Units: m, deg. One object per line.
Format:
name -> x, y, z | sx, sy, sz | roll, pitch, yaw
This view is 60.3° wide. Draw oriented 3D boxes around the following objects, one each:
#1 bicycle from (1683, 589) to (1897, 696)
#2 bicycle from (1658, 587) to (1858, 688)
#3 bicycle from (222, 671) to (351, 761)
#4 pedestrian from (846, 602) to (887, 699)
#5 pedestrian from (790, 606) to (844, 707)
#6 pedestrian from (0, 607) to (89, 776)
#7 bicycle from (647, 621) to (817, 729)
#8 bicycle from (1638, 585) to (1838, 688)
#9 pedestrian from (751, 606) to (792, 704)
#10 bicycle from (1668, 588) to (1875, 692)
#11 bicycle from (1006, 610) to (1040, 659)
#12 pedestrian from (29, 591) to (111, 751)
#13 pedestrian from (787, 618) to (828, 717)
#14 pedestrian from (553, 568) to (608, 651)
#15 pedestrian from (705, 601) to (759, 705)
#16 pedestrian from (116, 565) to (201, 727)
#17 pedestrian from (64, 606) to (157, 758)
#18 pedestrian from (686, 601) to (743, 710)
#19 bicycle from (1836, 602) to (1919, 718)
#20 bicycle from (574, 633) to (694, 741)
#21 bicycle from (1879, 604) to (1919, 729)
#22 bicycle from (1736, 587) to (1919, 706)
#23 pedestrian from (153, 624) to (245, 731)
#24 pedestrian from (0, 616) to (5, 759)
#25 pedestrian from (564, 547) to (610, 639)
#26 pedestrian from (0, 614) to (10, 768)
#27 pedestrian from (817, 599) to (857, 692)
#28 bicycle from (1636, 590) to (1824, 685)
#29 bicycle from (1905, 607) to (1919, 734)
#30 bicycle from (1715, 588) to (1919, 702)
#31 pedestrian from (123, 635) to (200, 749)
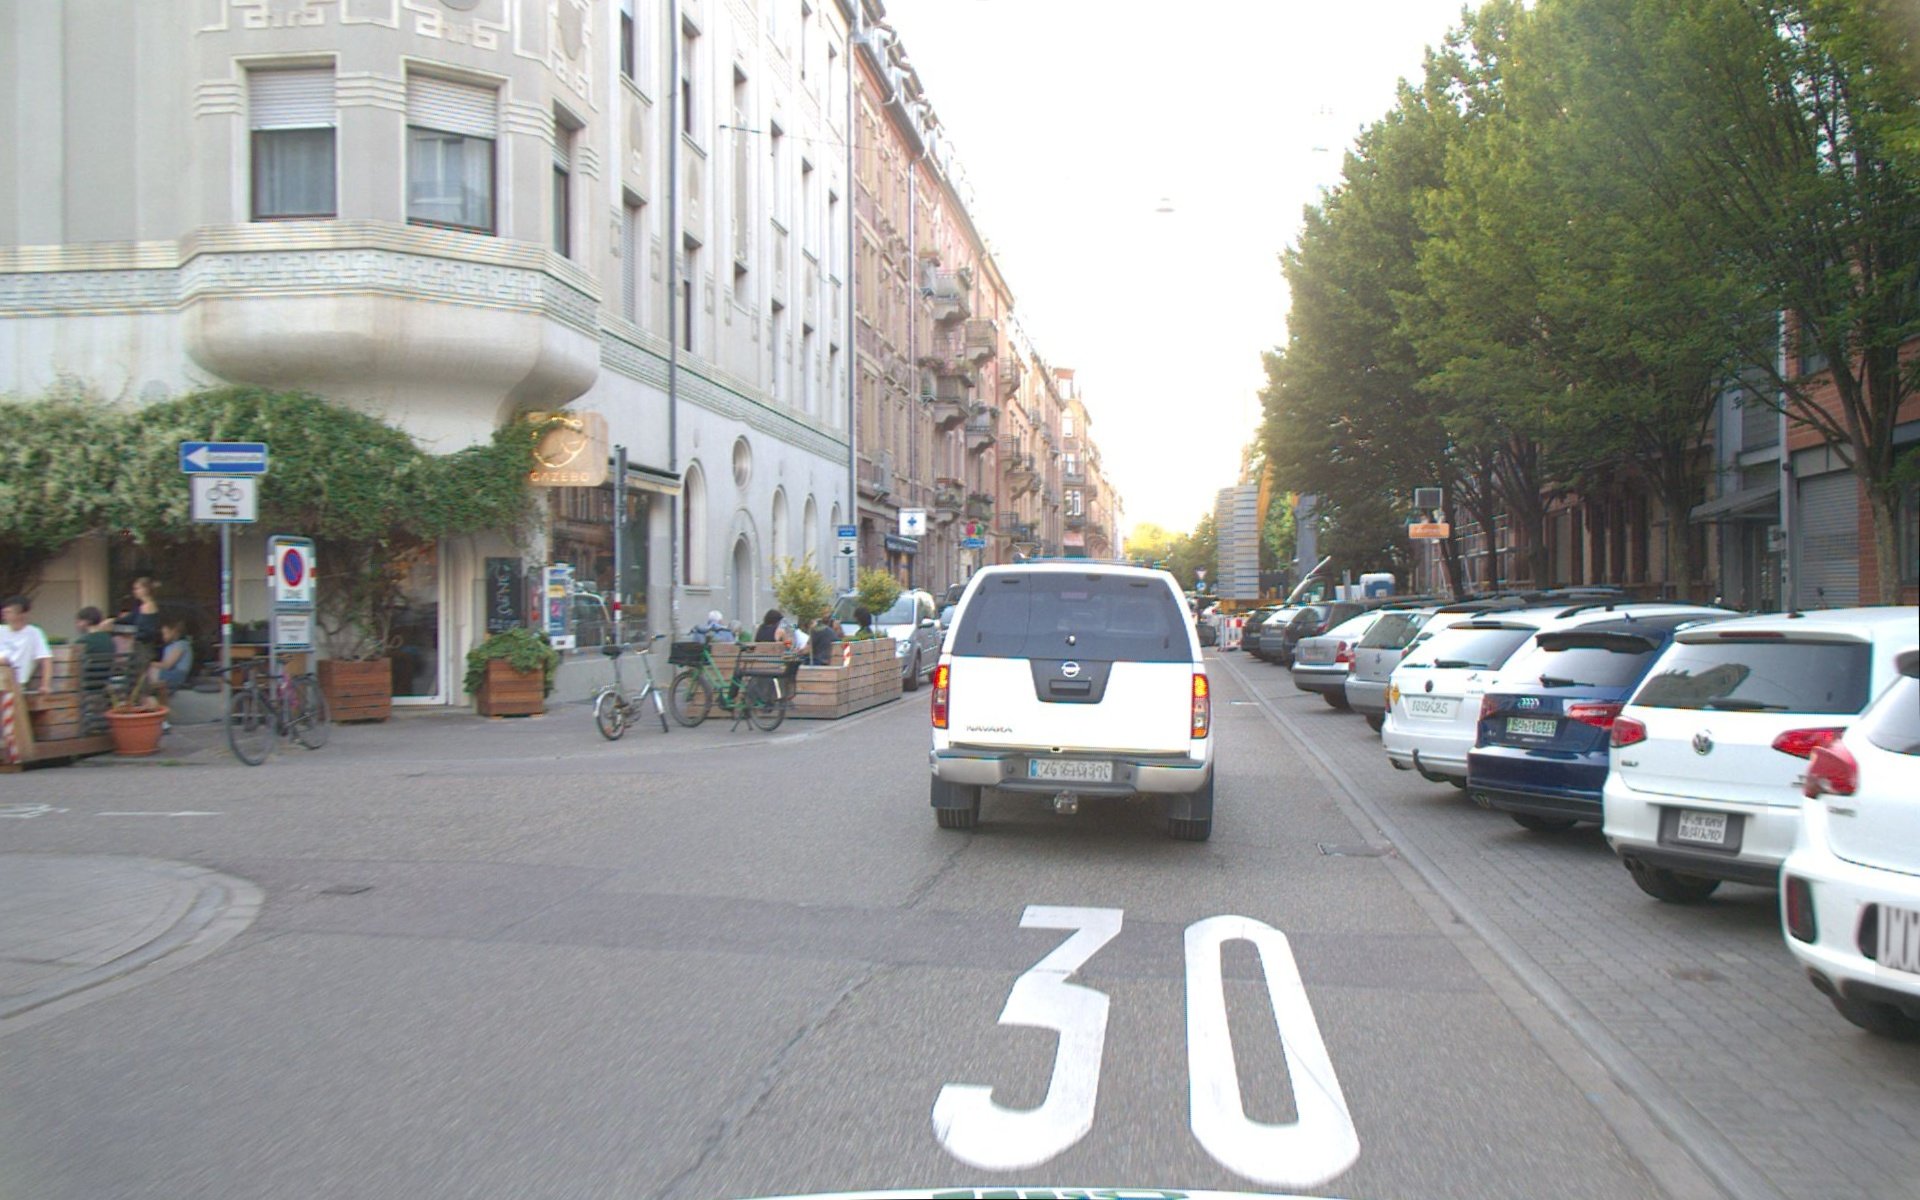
bicycle -> 11.070, 0.566, 22.136 | 2.480, 1.403, 0.600 | -1, 0, 10
bicycle -> 11.299, 0.532, 23.491 | 2.480, 1.403, 0.600 | -1, 0, 10
bicycle -> -6.638, 1.122, 16.384 | 0.414, 0.708, 1.781 | 0, 2, 5
pedestrian -> -1.348, 0.718, 23.897 | 0.473, 1.374, 0.669 | 0, 0, 6
pedestrian -> -1.943, 0.753, 22.554 | 0.596, 1.348, 0.771 | 0, 0, 6
pedestrian -> -8.885, 0.856, 15.783 | 0.687, 1.567, 0.784 | -1, 0, 6
bicycle -> -2.583, 0.824, 18.602 | 2.072, 1.114, 0.500 | 1, 1, 32
bicycle -> 11.389, 0.537, 24.280 | 2.481, 1.266, 0.600 | -6, -1, 10
pedestrian -> -2.684, 0.780, 23.609 | 0.458, 1.374, 0.611 | 0, 0, 6
bicycle -> 11.159, 0.550, 22.816 | 2.480, 1.403, 0.600 | -1, 0, 10
bicycle -> 1.438, 0.756, 37.264 | 0.601, 1.058, 1.905 | 0, 0, 7
pedestrian -> -9.343, 0.736, 17.368 | 0.529, 1.649, 0.546 | -1, 0, 7
pedestrian -> -2.162, 0.948, 23.477 | 0.458, 1.374, 0.611 | 0, 0, 6
pedestrian -> -5.451, 0.139, 23.755 | 0.545, 1.174, 0.748 | 0, 0, 6
pedestrian -> -3.004, 0.686, 21.825 | 0.526, 1.348, 0.705 | 0, 0, 8
pedestrian -> -8.577, 0.481, 17.706 | 0.601, 1.704, 0.569 | 0, 0, 8
pedestrian -> -8.566, 0.815, 16.695 | 0.559, 1.495, 0.645 | -1, 0, 5
pedestrian -> -3.100, 0.692, 20.943 | 0.526, 1.348, 0.705 | 0, 0, 8
bicycle -> 10.455, 0.607, 17.020 | 2.480, 1.187, 0.562 | -1, 0, 10
bicycle -> -3.476, 0.905, 17.769 | 0.414, 1.030, 1.719 | 0, 1, 21
bicycle -> 10.248, 0.624, 15.839 | 2.480, 1.187, 0.562 | -1, 0, 10
bicycle -> 10.803, 0.557, 20.008 | 2.480, 1.403, 0.600 | -1, 0, 10
pedestrian -> -9.044, 0.913, 19.674 | 0.676, 1.235, 0.779 | -1, 0, 8
pedestrian -> -10.187, 0.901, 16.789 | 0.559, 1.468, 0.645 | -1, 0, 8
pedestrian -> -5.632, -0.110, 24.998 | 0.527, 1.374, 0.519 | 0, 0, 8
pedestrian -> -9.652, 0.885, 15.768 | 0.687, 1.495, 0.784 | -1, 0, 6
pedestrian -> -1.847, 0.674, 24.860 | 0.506, 1.374, 0.540 | 0, 0, 4
bicycle -> 11.553, 0.558, 24.865 | 2.480, 1.403, 0.600 | -1, 0, 10
bicycle -> 10.166, 0.648, 15.244 | 2.480, 1.187, 0.562 | -1, 0, 10
bicycle -> 10.867, 0.558, 20.720 | 2.480, 1.403, 0.600 | -1, 0, 10
pedestrian -> -8.888, 1.013, 18.423 | 0.519, 1.235, 0.606 | 0, 0, 8
